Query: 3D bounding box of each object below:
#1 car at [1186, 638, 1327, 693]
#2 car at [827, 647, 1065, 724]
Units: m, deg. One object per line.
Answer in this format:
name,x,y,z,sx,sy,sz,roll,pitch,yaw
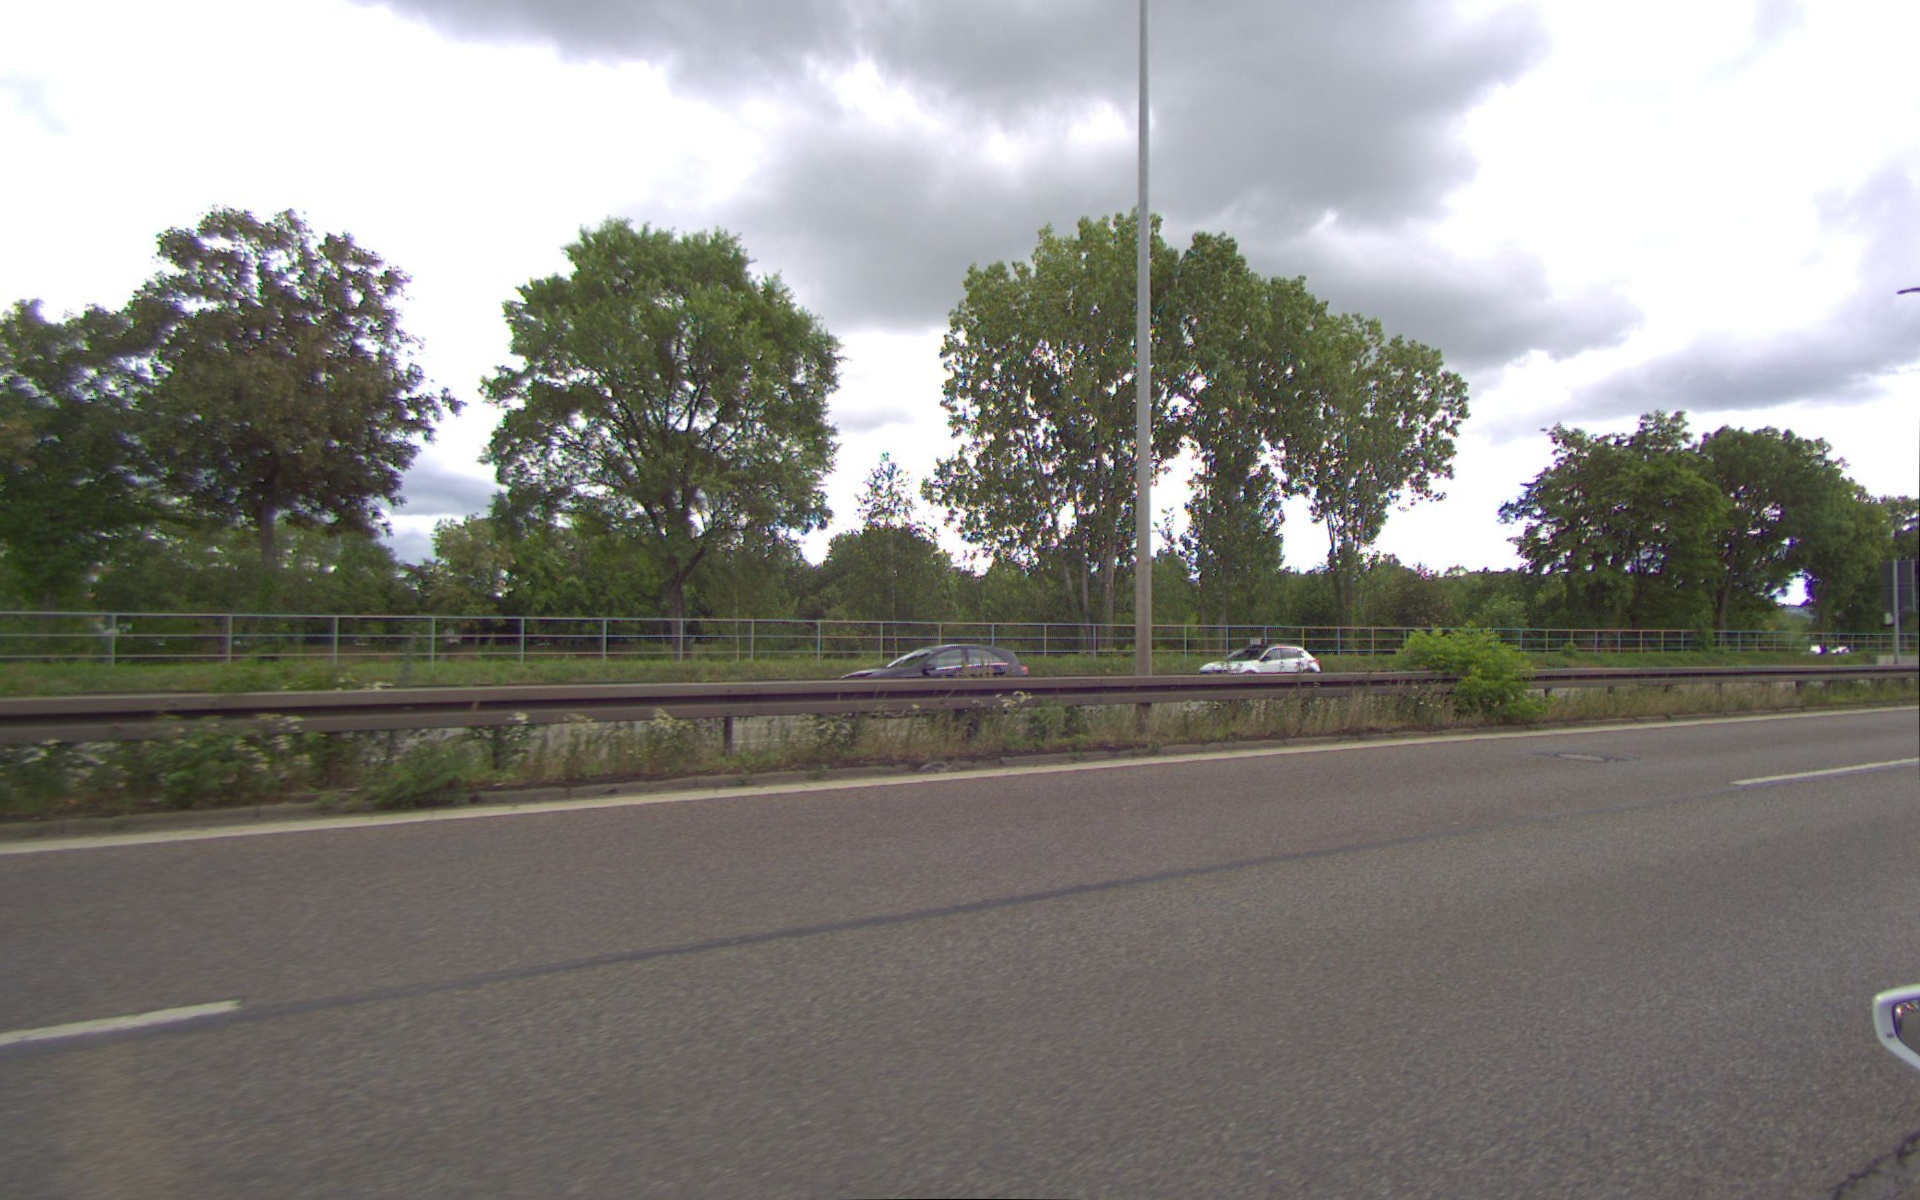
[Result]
car,9.154,1.967,30.989,4.153,1.509,1.870,1,-1,-30
car,-0.225,1.680,20.601,4.733,1.316,1.651,1,-1,-32
